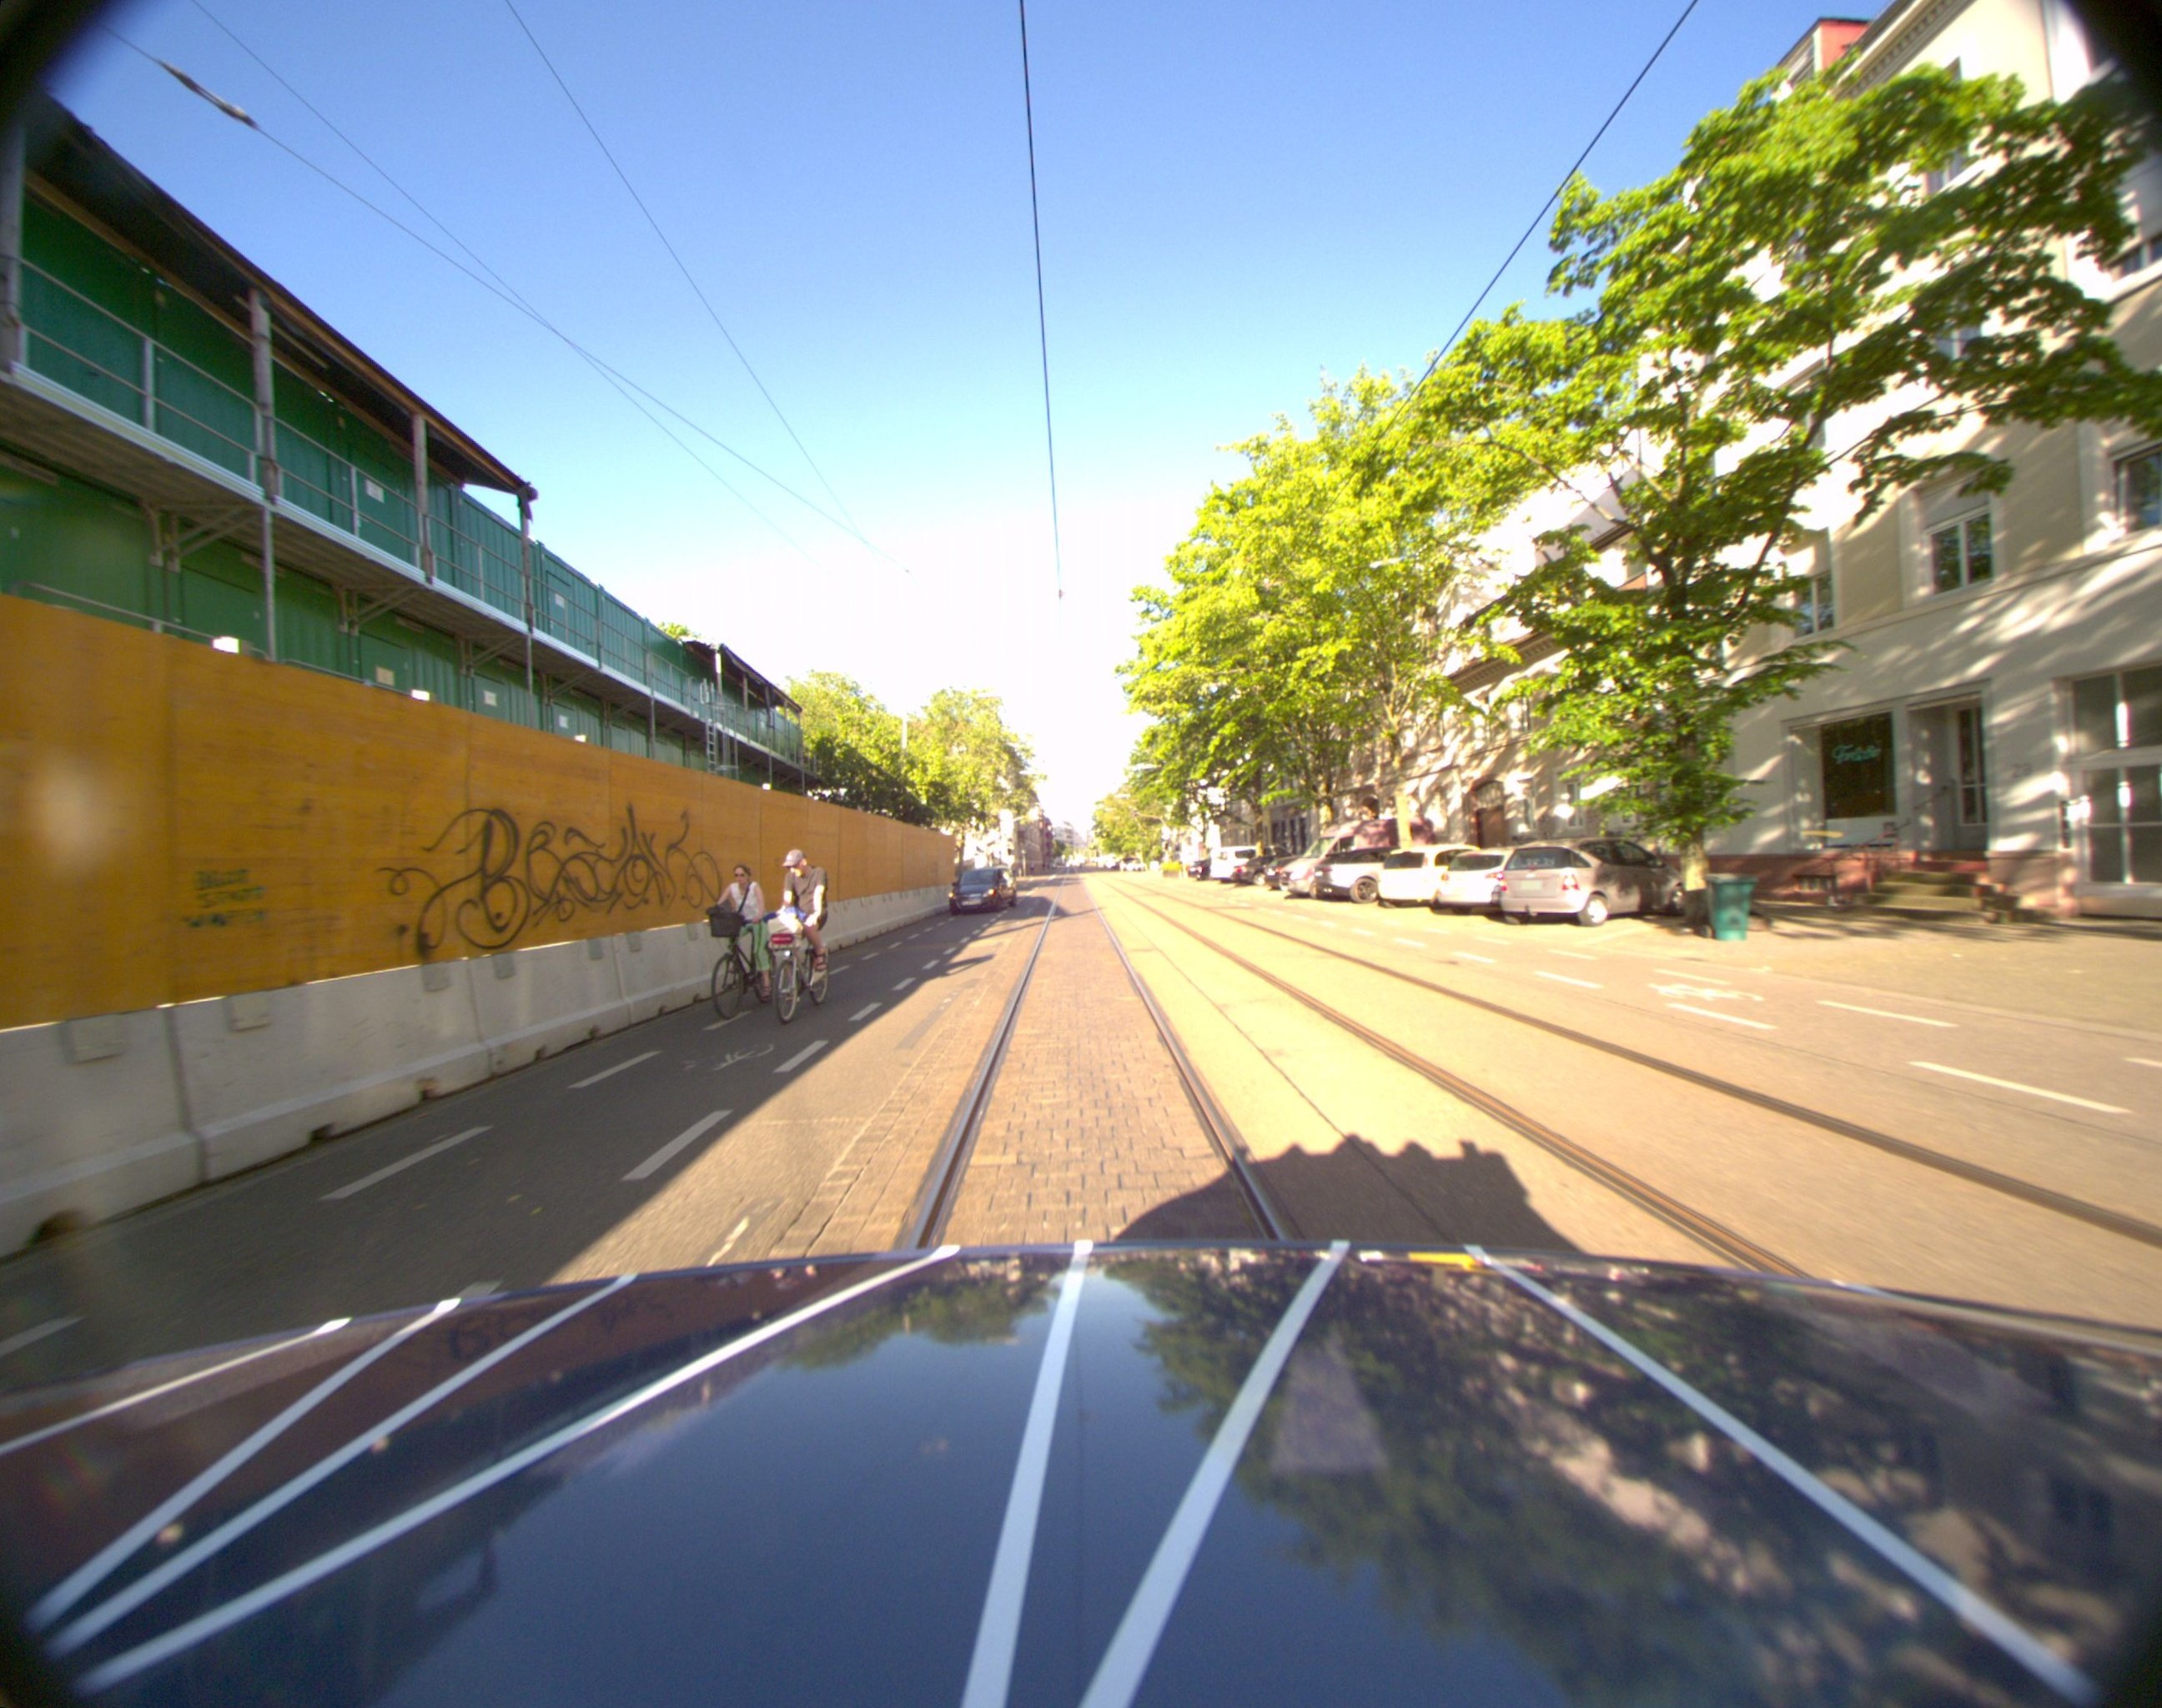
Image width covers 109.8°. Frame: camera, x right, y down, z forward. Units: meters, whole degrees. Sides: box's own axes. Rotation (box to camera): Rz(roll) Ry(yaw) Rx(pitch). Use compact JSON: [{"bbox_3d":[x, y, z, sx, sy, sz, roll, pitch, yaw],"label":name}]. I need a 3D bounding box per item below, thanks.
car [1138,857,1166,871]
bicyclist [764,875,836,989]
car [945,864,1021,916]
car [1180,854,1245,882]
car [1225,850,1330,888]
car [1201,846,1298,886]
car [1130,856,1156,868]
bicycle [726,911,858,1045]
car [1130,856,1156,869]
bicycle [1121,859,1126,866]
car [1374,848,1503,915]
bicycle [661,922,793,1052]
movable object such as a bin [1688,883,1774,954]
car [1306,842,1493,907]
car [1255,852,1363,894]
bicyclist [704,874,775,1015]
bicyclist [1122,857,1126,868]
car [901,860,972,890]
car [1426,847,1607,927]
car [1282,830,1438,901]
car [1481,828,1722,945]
[{"bbox_3d":[8.855,1.211,94.709,3.337,1.445,1.496,-3,1,2],"label":"car"},{"bbox_3d":[-3.161,0.865,8.574,0.653,1.230,0.353,-1,0,-3],"label":"bicyclist"},{"bbox_3d":[-3.466,1.248,27.642,1.749,1.612,4.172,-4,0,6],"label":"car"},{"bbox_3d":[8.782,0.923,50.550,4.005,1.549,1.777,-4,1,-30],"label":"car"},{"bbox_3d":[9.955,0.758,38.610,4.708,1.567,1.954,-4,0,-5],"label":"car"},{"bbox_3d":[9.365,0.630,42.266,4.946,2.002,2.071,-2,0,-24],"label":"car"},{"bbox_3d":[8.376,1.076,102.492,3.337,1.445,1.496,-3,1,2],"label":"car"},{"bbox_3d":[-3.224,1.330,8.745,0.669,1.148,2.275,-4,0,-2],"label":"bicycle"},{"bbox_3d":[8.119,1.058,99.546,3.337,1.445,1.496,-3,1,1],"label":"car"},{"bbox_3d":[5.590,1.093,99.806,0.451,0.930,1.757,-1,0,-5],"label":"bicycle"},{"bbox_3d":[9.516,0.685,20.171,3.380,1.544,1.381,-3,0,-30],"label":"car"},{"bbox_3d":[-4.028,1.449,8.859,0.559,1.120,2.275,-1,0,-3],"label":"bicycle"},{"bbox_3d":[9.284,0.907,10.879,0.623,0.939,0.670,-2,0,-2],"label":"movable object such as a bin"},{"bbox_3d":[9.754,0.618,23.566,4.842,1.714,2.163,-2,0,-3],"label":"car"},{"bbox_3d":[9.693,0.791,32.368,4.101,1.444,1.668,-4,0,-16],"label":"car"},{"bbox_3d":[-4.041,1.047,9.027,0.557,1.603,0.576,-1,0,-3],"label":"bicyclist"},{"bbox_3d":[5.597,1.068,99.693,0.419,1.462,0.590,-1,0,-4],"label":"bicyclist"},{"bbox_3d":[-10.778,1.591,56.941,4.794,1.998,2.001,-2,0,3],"label":"car"},{"bbox_3d":[9.841,0.670,17.097,4.178,1.543,1.698,-1,0,-31],"label":"car"},{"bbox_3d":[9.450,0.383,25.976,4.449,2.105,2.163,-3,0,-3],"label":"car"},{"bbox_3d":[9.895,0.552,14.456,4.003,1.667,1.700,-6,1,-20],"label":"car"}]
